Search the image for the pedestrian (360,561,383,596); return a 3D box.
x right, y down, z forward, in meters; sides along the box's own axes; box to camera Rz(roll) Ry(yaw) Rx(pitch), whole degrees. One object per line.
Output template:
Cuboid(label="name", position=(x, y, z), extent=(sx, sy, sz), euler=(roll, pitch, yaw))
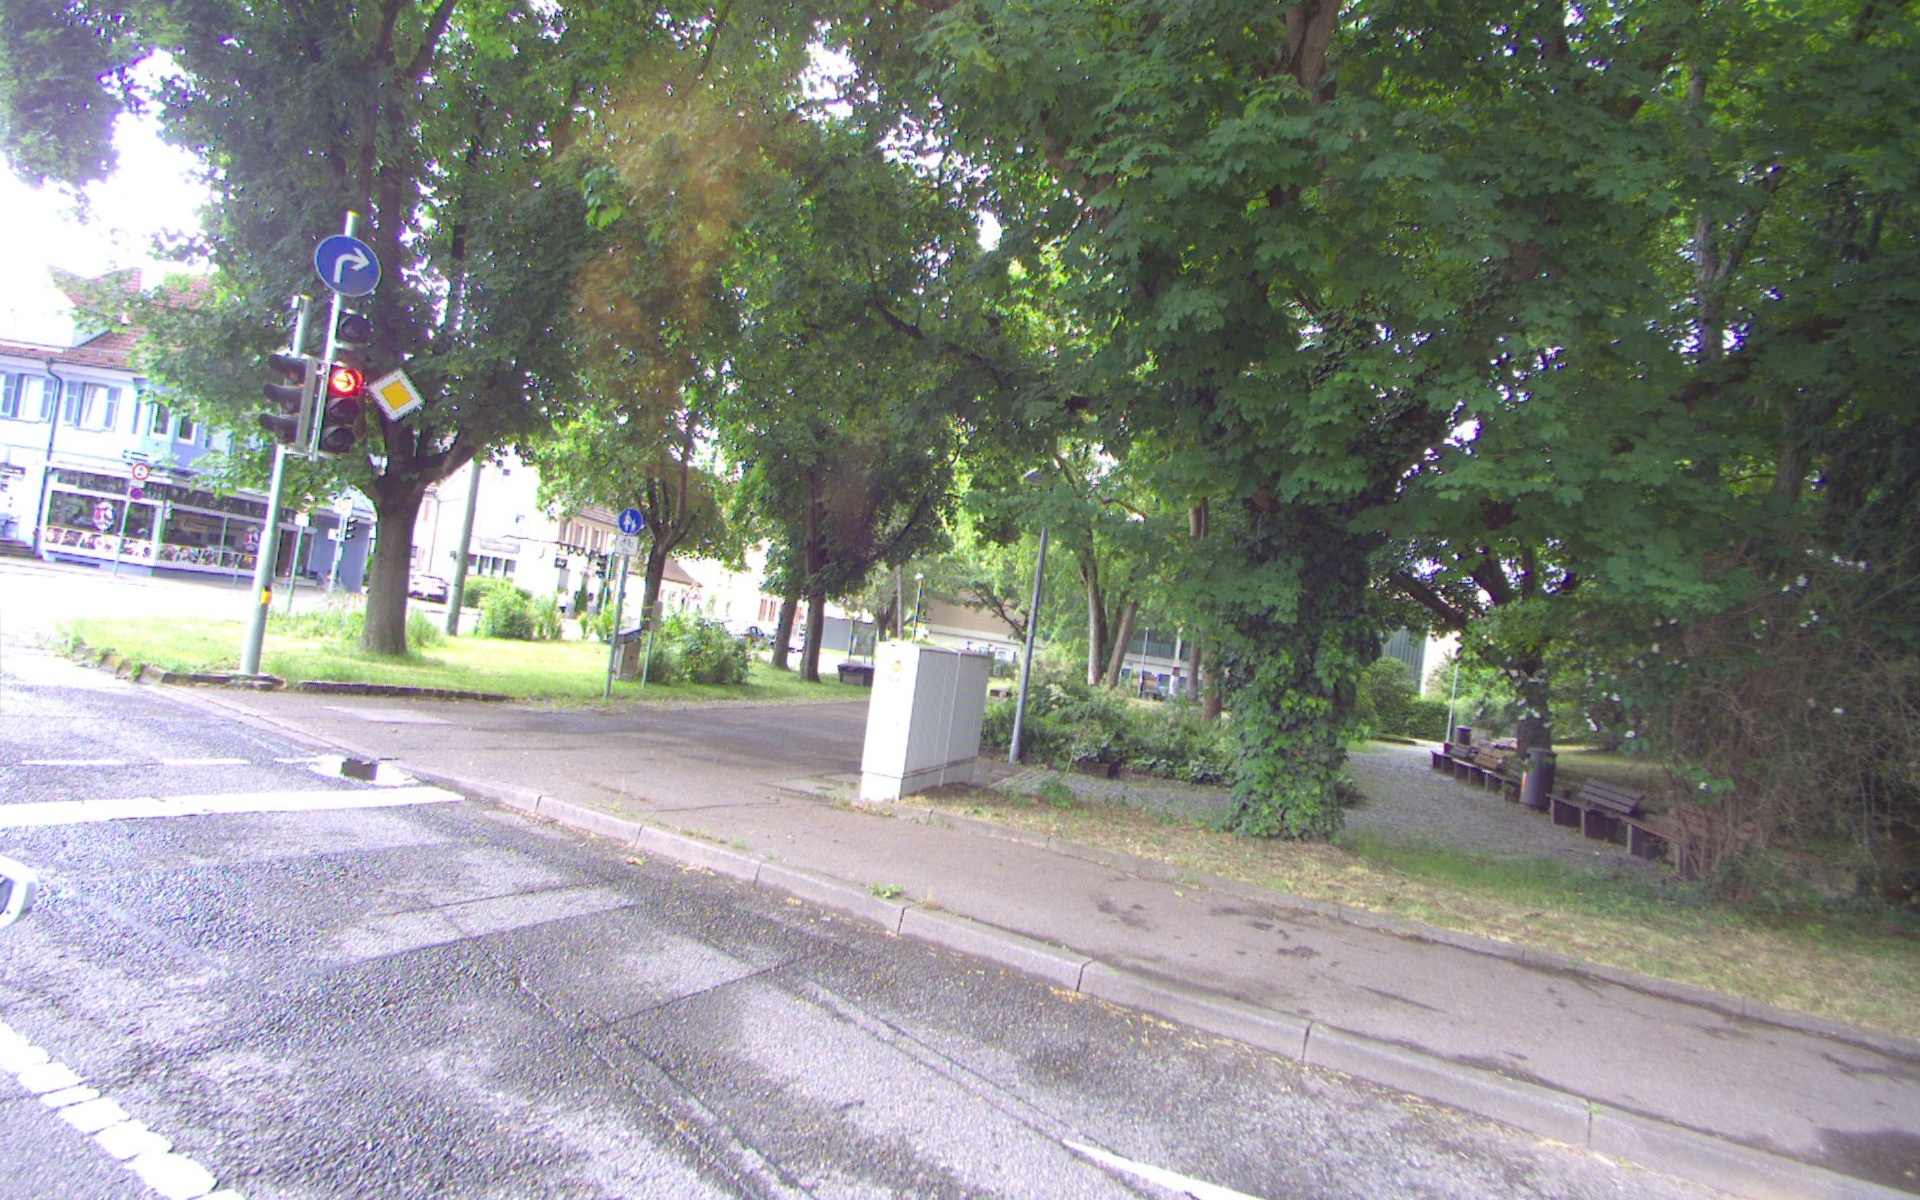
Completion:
Cuboid(label="pedestrian", position=(-27.287, -0.988, 46.663), extent=(0.576, 1.535, 0.460), euler=(7, -1, 12))

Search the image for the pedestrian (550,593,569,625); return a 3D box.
Cuboid(label="pedestrian", position=(-22.110, 0.493, 55.521), extent=(0.600, 1.668, 0.610), euler=(7, -1, 3))

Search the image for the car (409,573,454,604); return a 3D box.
Cuboid(label="car", position=(-27.869, -0.602, 53.148), extent=(1.479, 1.384, 3.166), euler=(8, -2, -19))

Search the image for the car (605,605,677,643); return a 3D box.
Cuboid(label="car", position=(-14.007, 1.090, 44.361), extent=(1.530, 1.336, 3.514), euler=(7, -2, 9))

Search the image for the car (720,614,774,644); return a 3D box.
Cuboid(label="car", position=(-11.567, 1.597, 54.826), extent=(1.530, 1.336, 3.514), euler=(7, -2, 9))

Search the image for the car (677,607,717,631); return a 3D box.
Cuboid(label="car", position=(-19.370, 1.443, 74.253), extent=(1.528, 1.436, 4.005), euler=(7, -2, 4))

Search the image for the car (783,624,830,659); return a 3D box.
Cuboid(label="car", position=(-10.055, 2.758, 66.180), extent=(1.750, 2.037, 4.005), euler=(7, -2, 7))

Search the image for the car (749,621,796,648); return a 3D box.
Cuboid(label="car", position=(-11.166, 2.070, 60.111), extent=(1.530, 1.336, 3.514), euler=(7, -2, 8))
